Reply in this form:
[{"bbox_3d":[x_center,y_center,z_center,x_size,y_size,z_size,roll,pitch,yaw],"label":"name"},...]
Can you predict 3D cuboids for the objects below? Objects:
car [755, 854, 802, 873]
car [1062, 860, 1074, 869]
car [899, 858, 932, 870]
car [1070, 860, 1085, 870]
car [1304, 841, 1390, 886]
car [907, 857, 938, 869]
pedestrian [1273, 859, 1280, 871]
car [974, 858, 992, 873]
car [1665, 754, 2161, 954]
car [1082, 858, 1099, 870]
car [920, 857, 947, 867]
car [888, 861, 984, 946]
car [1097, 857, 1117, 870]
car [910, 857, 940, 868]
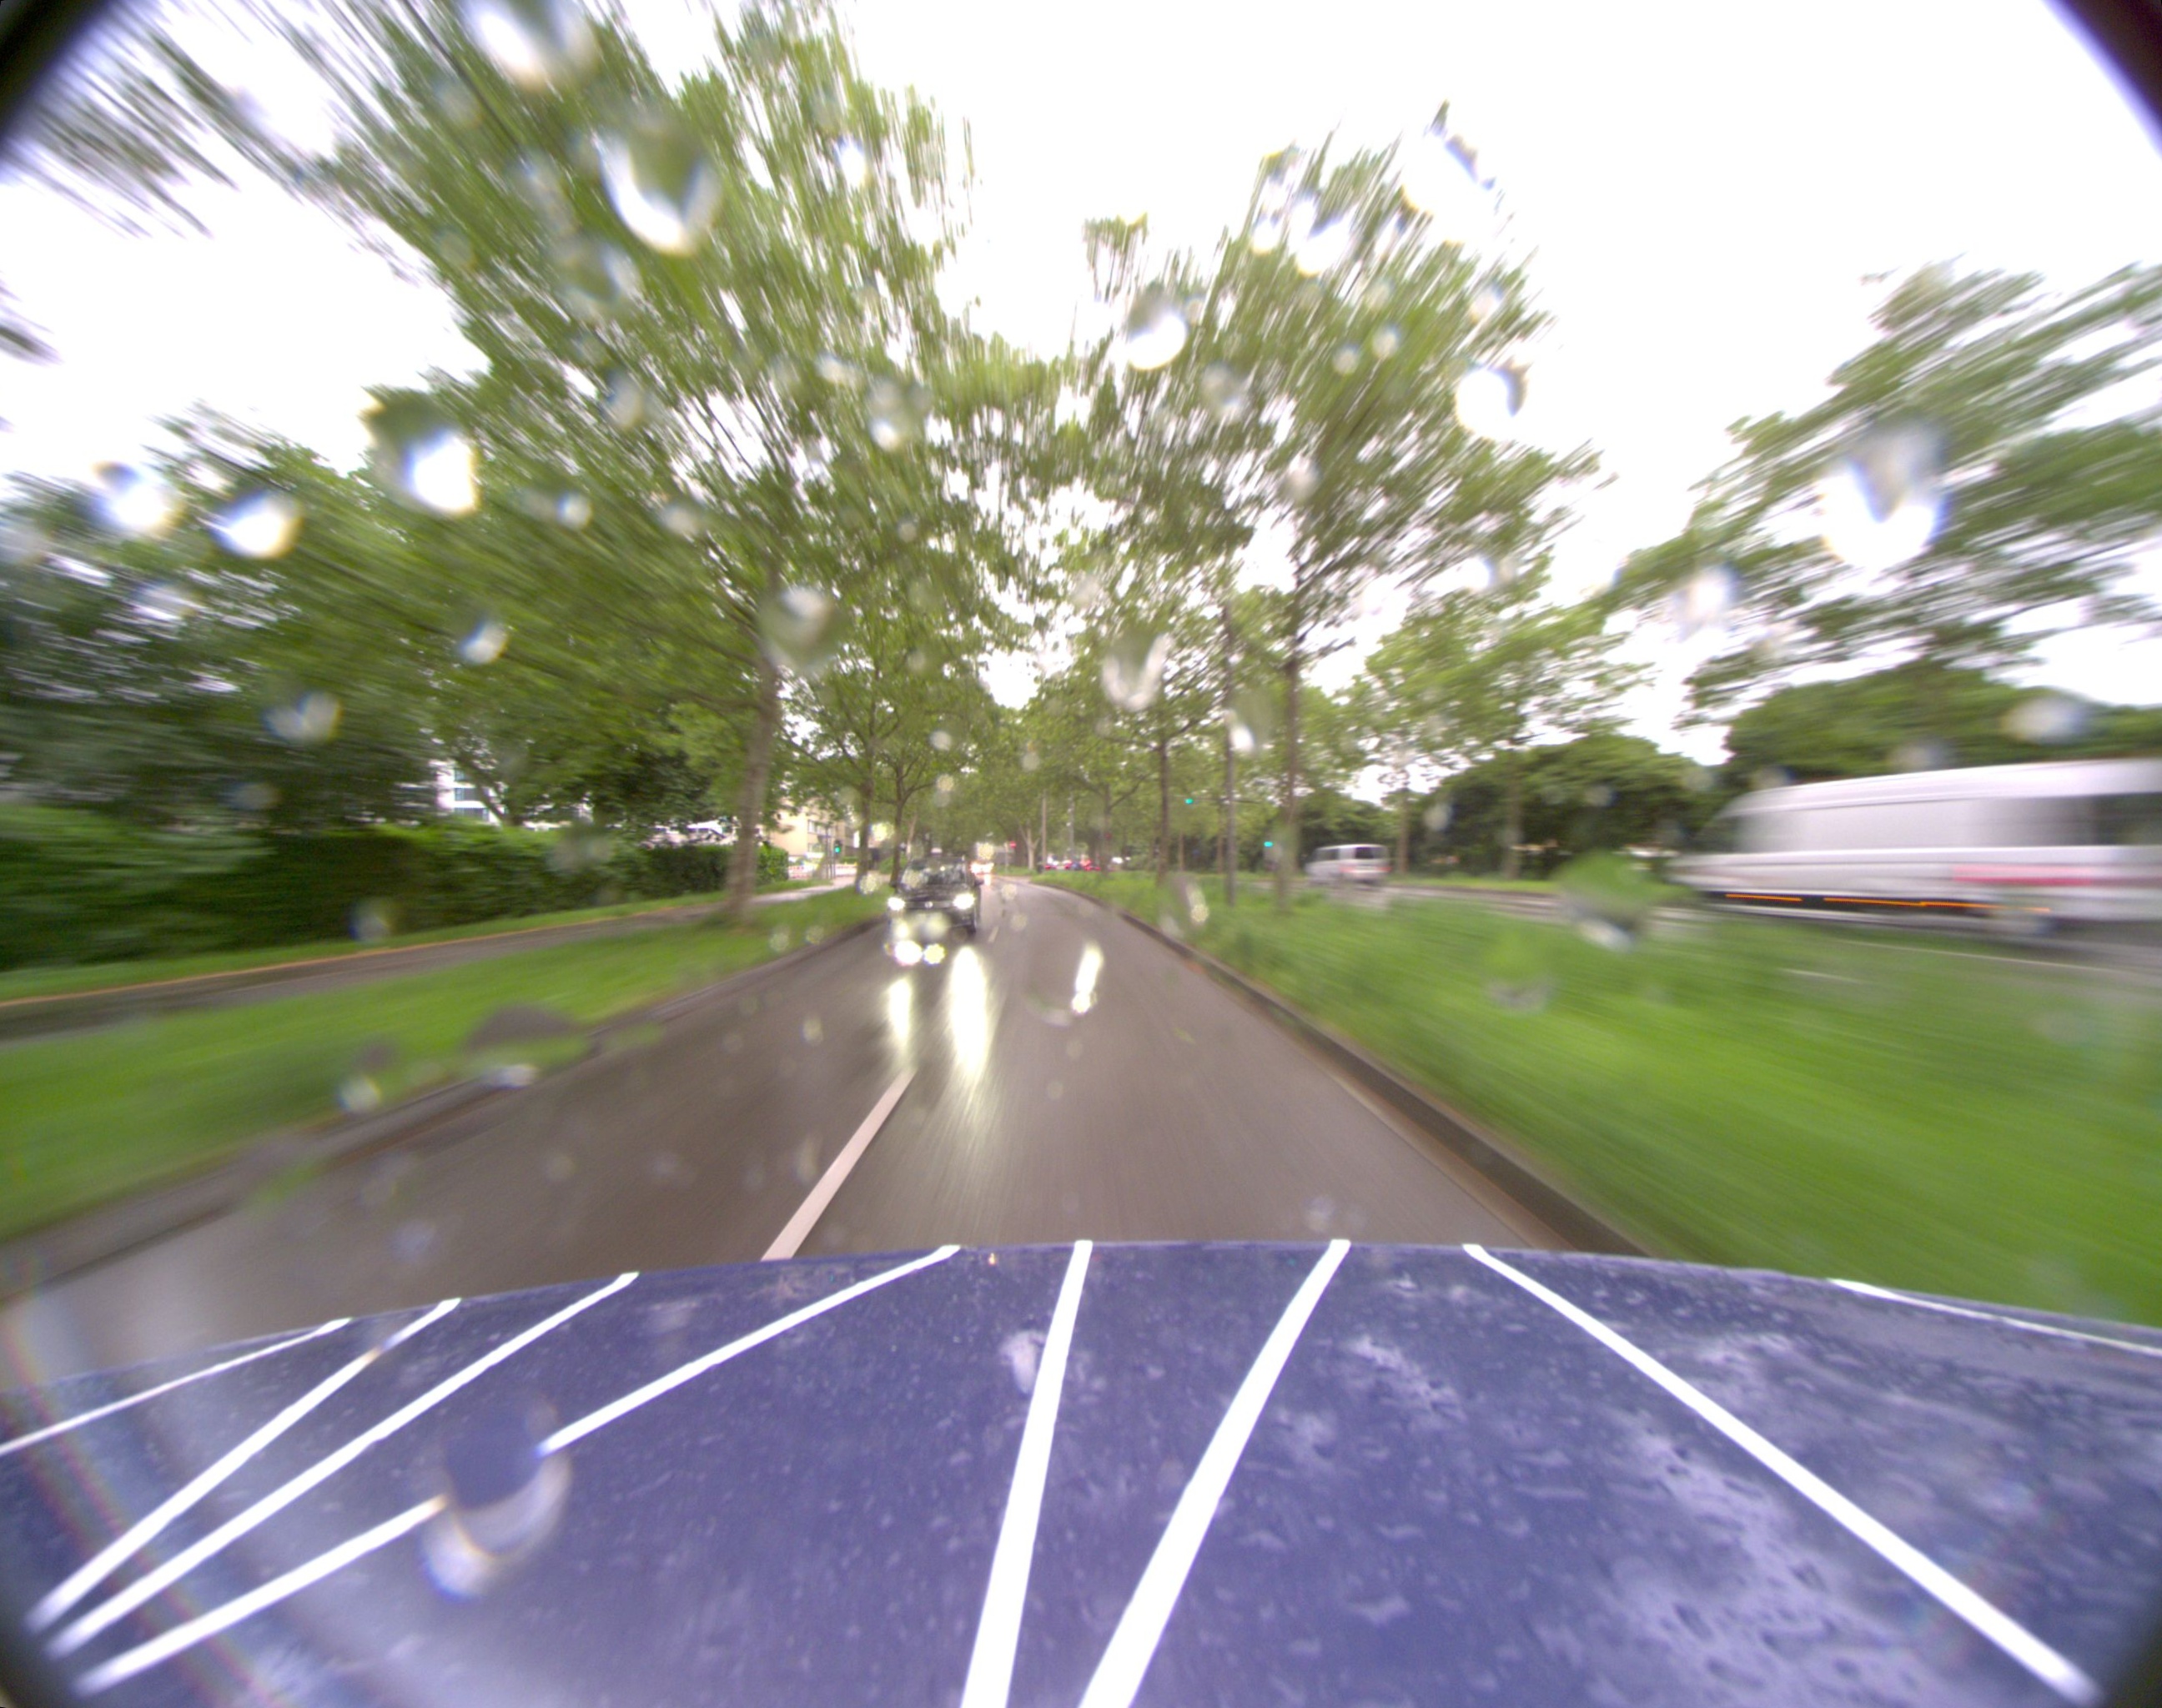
[{"bbox_3d":[-30.114,0.934,75.735,4.000,1.760,1.784,0,0,-10],"label":"car"},{"bbox_3d":[-2.377,1.929,136.600,1.785,1.546,3.997,0,0,-7],"label":"car"},{"bbox_3d":[-21.015,1.291,96.839,4.000,1.546,1.784,0,0,-10],"label":"car"},{"bbox_3d":[-0.573,1.662,116.212,1.785,1.546,3.997,0,0,-7],"label":"car"},{"bbox_3d":[12.126,0.417,35.030,1.939,1.929,5.196,0,0,-2],"label":"car"},{"bbox_3d":[-21.359,1.259,102.350,4.000,1.546,1.784,0,0,-10],"label":"car"},{"bbox_3d":[16.109,0.900,62.663,0.476,1.034,0.441,0,0,-3],"label":"pedestrian"},{"bbox_3d":[-10.642,1.233,82.176,1.785,1.546,3.997,-1,-1,-9],"label":"car"},{"bbox_3d":[13.031,0.006,12.370,2.284,2.412,6.360,0,0,1],"label":"car"},{"bbox_3d":[1.322,1.295,103.246,1.785,1.546,3.997,0,0,-7],"label":"car"},{"bbox_3d":[-22.749,1.192,116.974,4.000,1.546,1.784,0,0,-10],"label":"car"},{"bbox_3d":[-3.168,0.992,17.074,1.785,1.546,3.997,-3,0,-9],"label":"car"},{"bbox_3d":[3.080,1.121,91.694,1.785,1.546,3.997,0,0,-7],"label":"car"},{"bbox_3d":[-22.108,1.240,107.840,4.000,1.546,1.784,0,0,-10],"label":"car"}]
